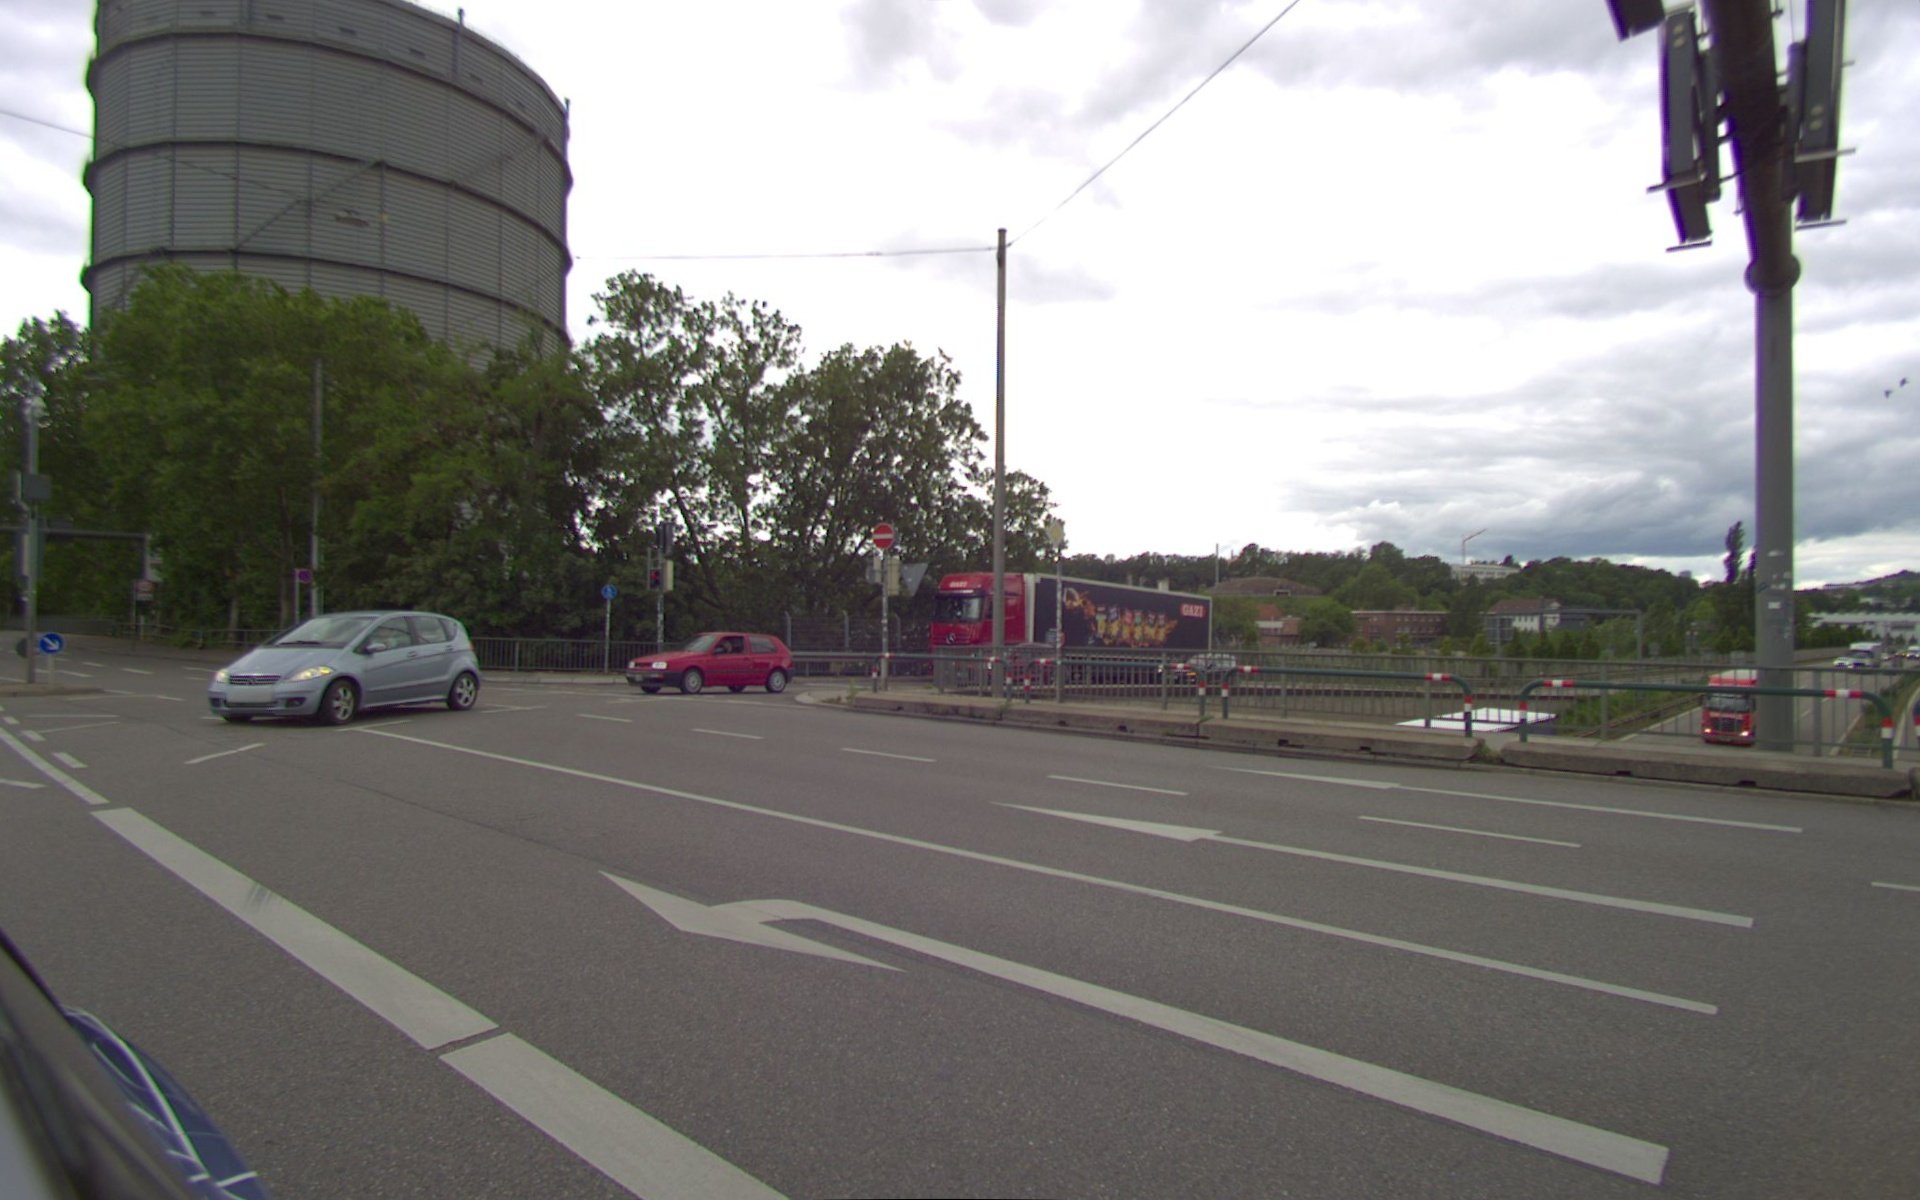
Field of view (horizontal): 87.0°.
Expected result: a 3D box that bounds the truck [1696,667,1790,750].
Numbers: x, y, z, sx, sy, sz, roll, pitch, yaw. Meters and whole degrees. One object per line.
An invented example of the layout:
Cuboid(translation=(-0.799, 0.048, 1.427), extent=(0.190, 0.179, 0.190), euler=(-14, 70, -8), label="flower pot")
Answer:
Cuboid(translation=(51.072, 6.830, 65.809), extent=(13.058, 4.389, 2.893), euler=(1, -1, -44), label="truck")

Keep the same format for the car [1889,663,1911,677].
Cuboid(translation=(128.246, 9.538, 138.117), extent=(3.584, 1.730, 1.916), euler=(4, -1, -43), label="car")

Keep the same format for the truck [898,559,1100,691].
Cuboid(translation=(1.588, 1.088, 37.273), extent=(3.671, 4.354, 7.134), euler=(-2, -5, 42), label="truck")

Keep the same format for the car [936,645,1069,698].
Cuboid(translation=(1.392, 2.184, 31.657), extent=(1.697, 1.431, 4.404), euler=(-2, -2, 43), label="car")

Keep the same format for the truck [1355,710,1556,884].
Cuboid(translation=(16.841, 6.194, 33.891), extent=(2.905, 4.215, 9.877), euler=(2, 0, 45), label="truck")

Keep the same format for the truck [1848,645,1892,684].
Cuboid(translation=(127.481, 8.961, 141.707), extent=(13.727, 4.992, 3.382), euler=(1, -2, -43), label="truck")

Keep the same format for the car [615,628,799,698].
Cuboid(translation=(-5.744, 1.446, 23.355), extent=(1.745, 1.474, 3.905), euler=(-2, -4, 37), label="car")

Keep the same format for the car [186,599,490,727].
Cuboid(translation=(-8.955, 0.913, 14.968), extent=(1.730, 1.616, 3.668), euler=(1, -3, 12), label="car")

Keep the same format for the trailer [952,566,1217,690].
Cuboid(translation=(5.643, 1.454, 41.800), extent=(3.671, 4.354, 13.588), euler=(-2, -5, 42), label="trailer")

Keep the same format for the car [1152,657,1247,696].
Cuboid(translation=(9.633, 3.052, 40.515), extent=(1.698, 1.431, 4.403), euler=(-2, -4, 44), label="car")
